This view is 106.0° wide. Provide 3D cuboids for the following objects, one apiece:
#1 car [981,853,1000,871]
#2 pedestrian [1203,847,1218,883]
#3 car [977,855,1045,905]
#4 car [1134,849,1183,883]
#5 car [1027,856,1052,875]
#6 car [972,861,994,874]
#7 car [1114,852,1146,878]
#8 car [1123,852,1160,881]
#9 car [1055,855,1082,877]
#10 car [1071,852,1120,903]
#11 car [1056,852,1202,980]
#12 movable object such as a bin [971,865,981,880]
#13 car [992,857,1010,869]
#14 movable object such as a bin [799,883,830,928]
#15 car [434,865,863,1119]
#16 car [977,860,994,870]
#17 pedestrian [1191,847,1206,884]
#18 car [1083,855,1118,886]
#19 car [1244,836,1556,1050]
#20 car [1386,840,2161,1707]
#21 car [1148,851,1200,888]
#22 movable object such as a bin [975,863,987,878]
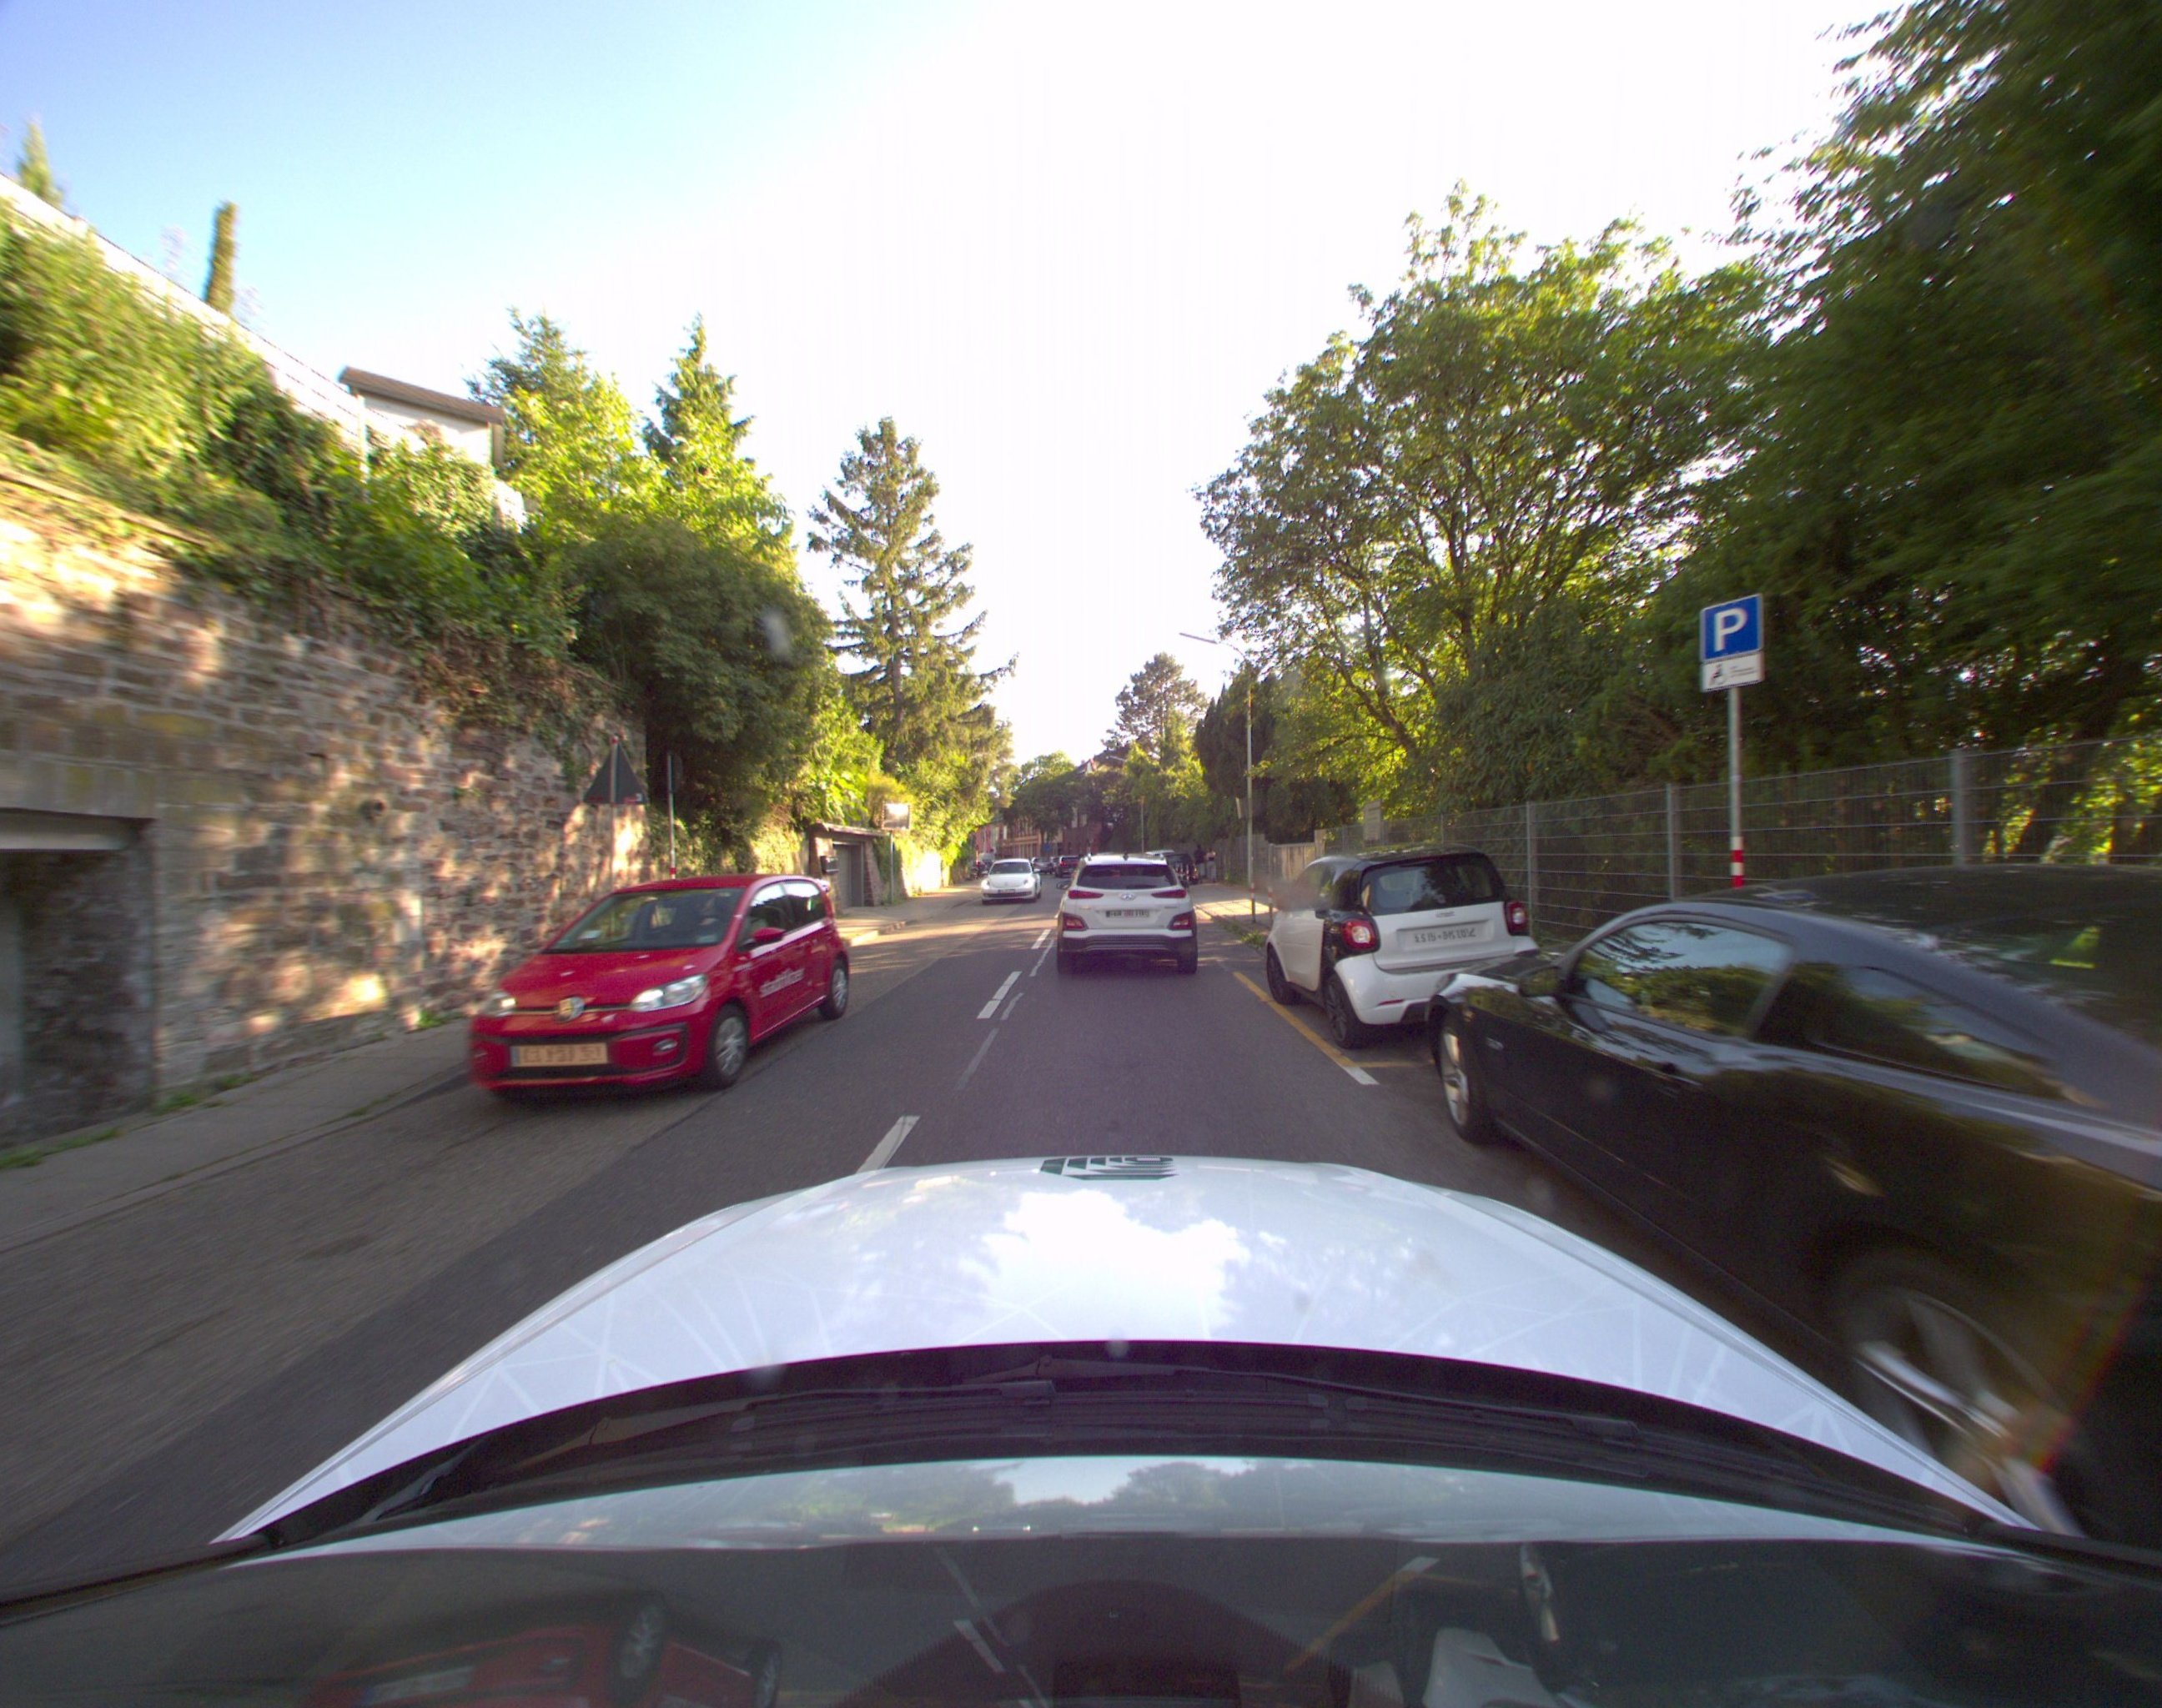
[{"bbox_3d":[-13.498,1.188,120.866,1.934,2.583,4.368,-2,0,-17],"label":"car"},{"bbox_3d":[5.785,0.477,36.324,0.501,1.569,0.504,-4,-1,2],"label":"pedestrian"},{"bbox_3d":[-2.341,0.845,28.178,1.734,1.474,4.002,-5,-1,2],"label":"car"},{"bbox_3d":[3.898,0.629,41.571,1.592,1.565,3.990,-3,0,-7],"label":"car"},{"bbox_3d":[-3.766,1.018,73.760,1.592,1.582,3.345,-2,0,-13],"label":"car"},{"bbox_3d":[-10.307,1.380,85.653,1.597,1.317,3.790,-1,-1,-17],"label":"car"},{"bbox_3d":[3.114,0.690,52.669,1.590,1.489,3.598,-4,0,-3],"label":"car"},{"bbox_3d":[3.468,0.721,47.147,1.590,1.519,3.928,-4,0,-3],"label":"car"},{"bbox_3d":[-0.918,0.872,59.229,1.591,1.461,3.091,-2,0,-7],"label":"car"},{"bbox_3d":[0.437,0.739,27.433,1.507,1.533,3.546,-2,0,-1],"label":"car"},{"bbox_3d":[0.662,0.768,11.936,1.765,1.542,4.002,-1,0,2],"label":"car"},{"bbox_3d":[-6.999,1.216,54.179,0.493,1.011,1.113,0,-1,1],"label":"movable object such as a bin"},{"bbox_3d":[-11.017,1.238,111.960,1.759,1.616,3.979,0,0,-16],"label":"car"},{"bbox_3d":[-5.840,1.121,17.891,0.488,0.964,0.583,0,0,-1],"label":"movable object such as a bin"},{"bbox_3d":[-3.171,0.883,6.852,1.544,1.466,3.570,-3,0,2],"label":"car"},{"bbox_3d":[-12.365,1.457,105.728,1.531,1.260,3.340,-2,0,-18],"label":"car"},{"bbox_3d":[5.233,0.490,36.334,0.501,1.606,0.491,-4,-1,1],"label":"pedestrian"},{"bbox_3d":[1.009,0.801,40.727,1.563,1.477,3.551,0,0,4],"label":"car"},{"bbox_3d":[2.718,0.659,7.621,1.621,1.509,2.901,-4,1,-2],"label":"car"},{"bbox_3d":[2.641,0.736,2.731,1.703,1.498,4.818,0,0,4],"label":"car"},{"bbox_3d":[4.068,0.647,36.189,1.681,1.431,3.998,-3,0,-1],"label":"car"},{"bbox_3d":[-7.893,1.268,64.201,0.789,1.189,0.773,0,-1,0],"label":"movable object such as a bin"}]
